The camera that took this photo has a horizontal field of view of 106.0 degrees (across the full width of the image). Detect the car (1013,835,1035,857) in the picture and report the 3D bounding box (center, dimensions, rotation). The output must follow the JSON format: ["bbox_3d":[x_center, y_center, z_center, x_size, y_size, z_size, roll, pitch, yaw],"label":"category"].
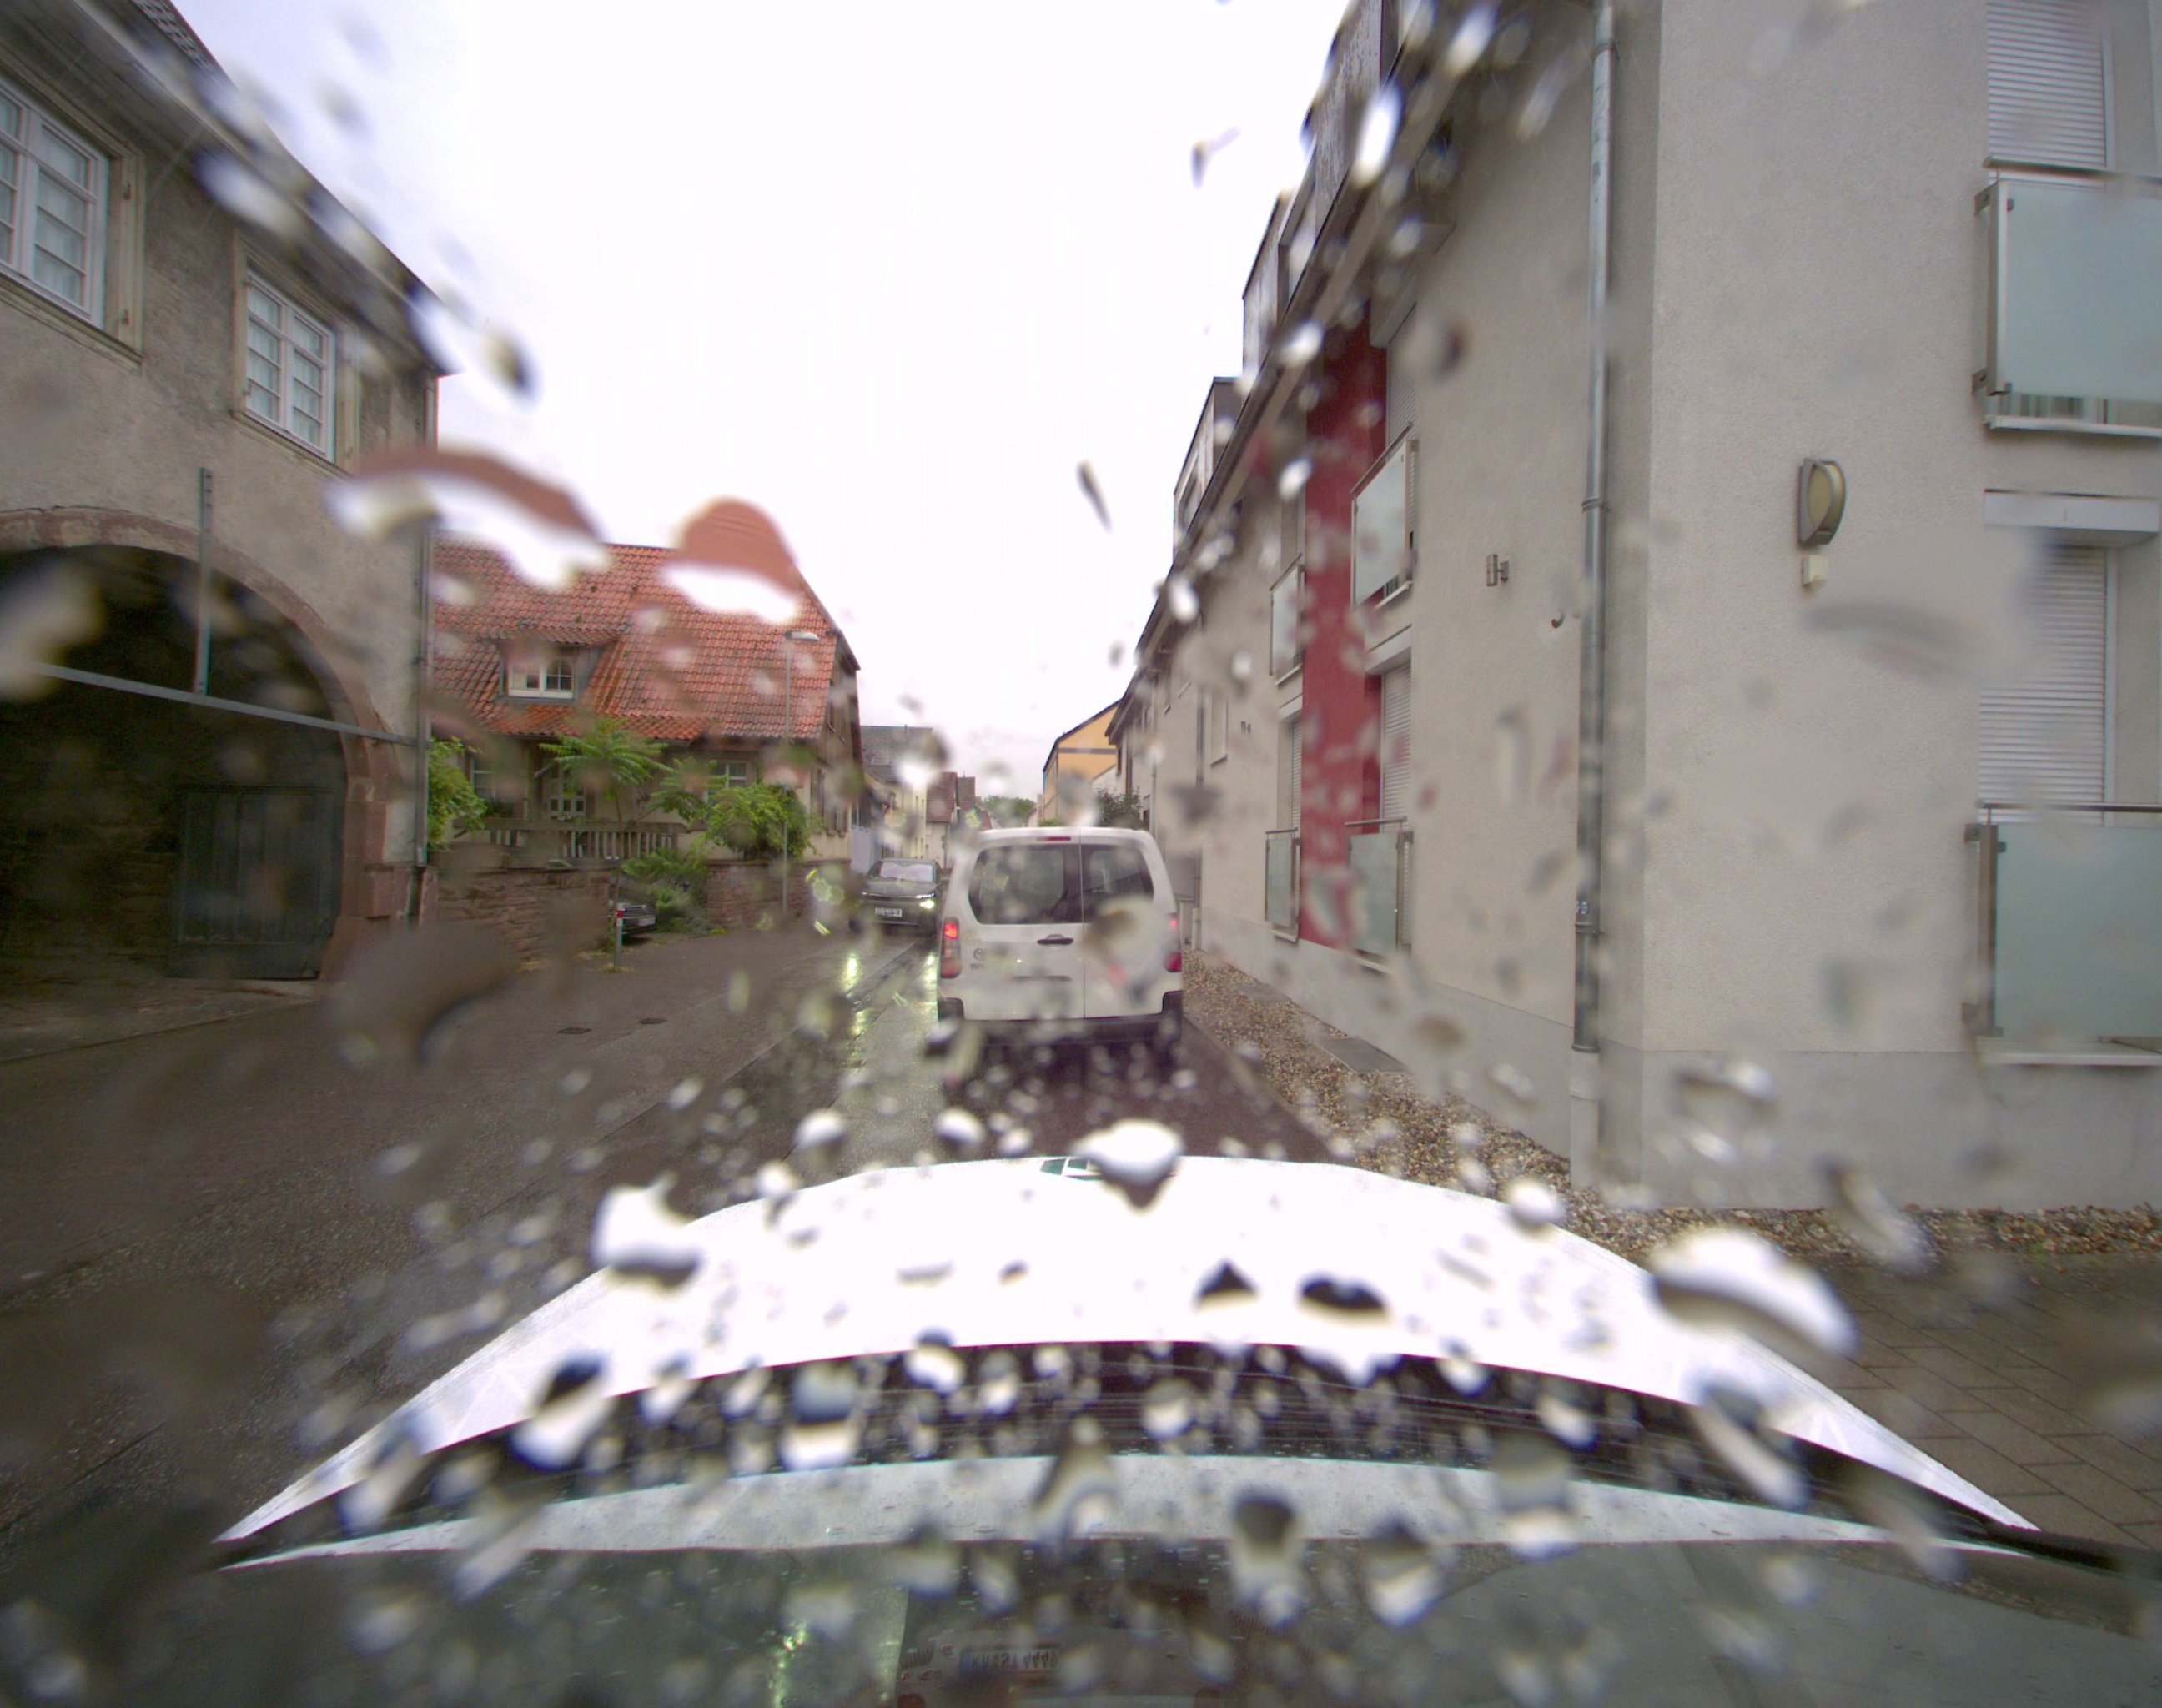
[{"bbox_3d":[-5.321,-0.748,76.580,1.989,2.014,3.995,0,-1,-3],"label":"car"}]

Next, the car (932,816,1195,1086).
[{"bbox_3d":[-0.325,0.649,7.471,1.773,1.780,3.991,0,-1,-7],"label":"car"}]

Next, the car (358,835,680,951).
[{"bbox_3d":[-9.111,0.612,13.452,3.973,1.425,1.736,5,-1,1],"label":"car"}]

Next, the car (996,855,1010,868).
[{"bbox_3d":[-9.337,0.883,97.462,1.559,1.477,3.990,0,-1,-7],"label":"car"}]

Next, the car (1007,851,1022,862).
[{"bbox_3d":[-8.837,0.314,108.176,1.778,1.395,3.989,0,-1,-7],"label":"car"}]

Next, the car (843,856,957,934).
[{"bbox_3d":[-3.957,0.842,18.478,1.829,1.556,4.234,1,-1,-4],"label":"car"}]
